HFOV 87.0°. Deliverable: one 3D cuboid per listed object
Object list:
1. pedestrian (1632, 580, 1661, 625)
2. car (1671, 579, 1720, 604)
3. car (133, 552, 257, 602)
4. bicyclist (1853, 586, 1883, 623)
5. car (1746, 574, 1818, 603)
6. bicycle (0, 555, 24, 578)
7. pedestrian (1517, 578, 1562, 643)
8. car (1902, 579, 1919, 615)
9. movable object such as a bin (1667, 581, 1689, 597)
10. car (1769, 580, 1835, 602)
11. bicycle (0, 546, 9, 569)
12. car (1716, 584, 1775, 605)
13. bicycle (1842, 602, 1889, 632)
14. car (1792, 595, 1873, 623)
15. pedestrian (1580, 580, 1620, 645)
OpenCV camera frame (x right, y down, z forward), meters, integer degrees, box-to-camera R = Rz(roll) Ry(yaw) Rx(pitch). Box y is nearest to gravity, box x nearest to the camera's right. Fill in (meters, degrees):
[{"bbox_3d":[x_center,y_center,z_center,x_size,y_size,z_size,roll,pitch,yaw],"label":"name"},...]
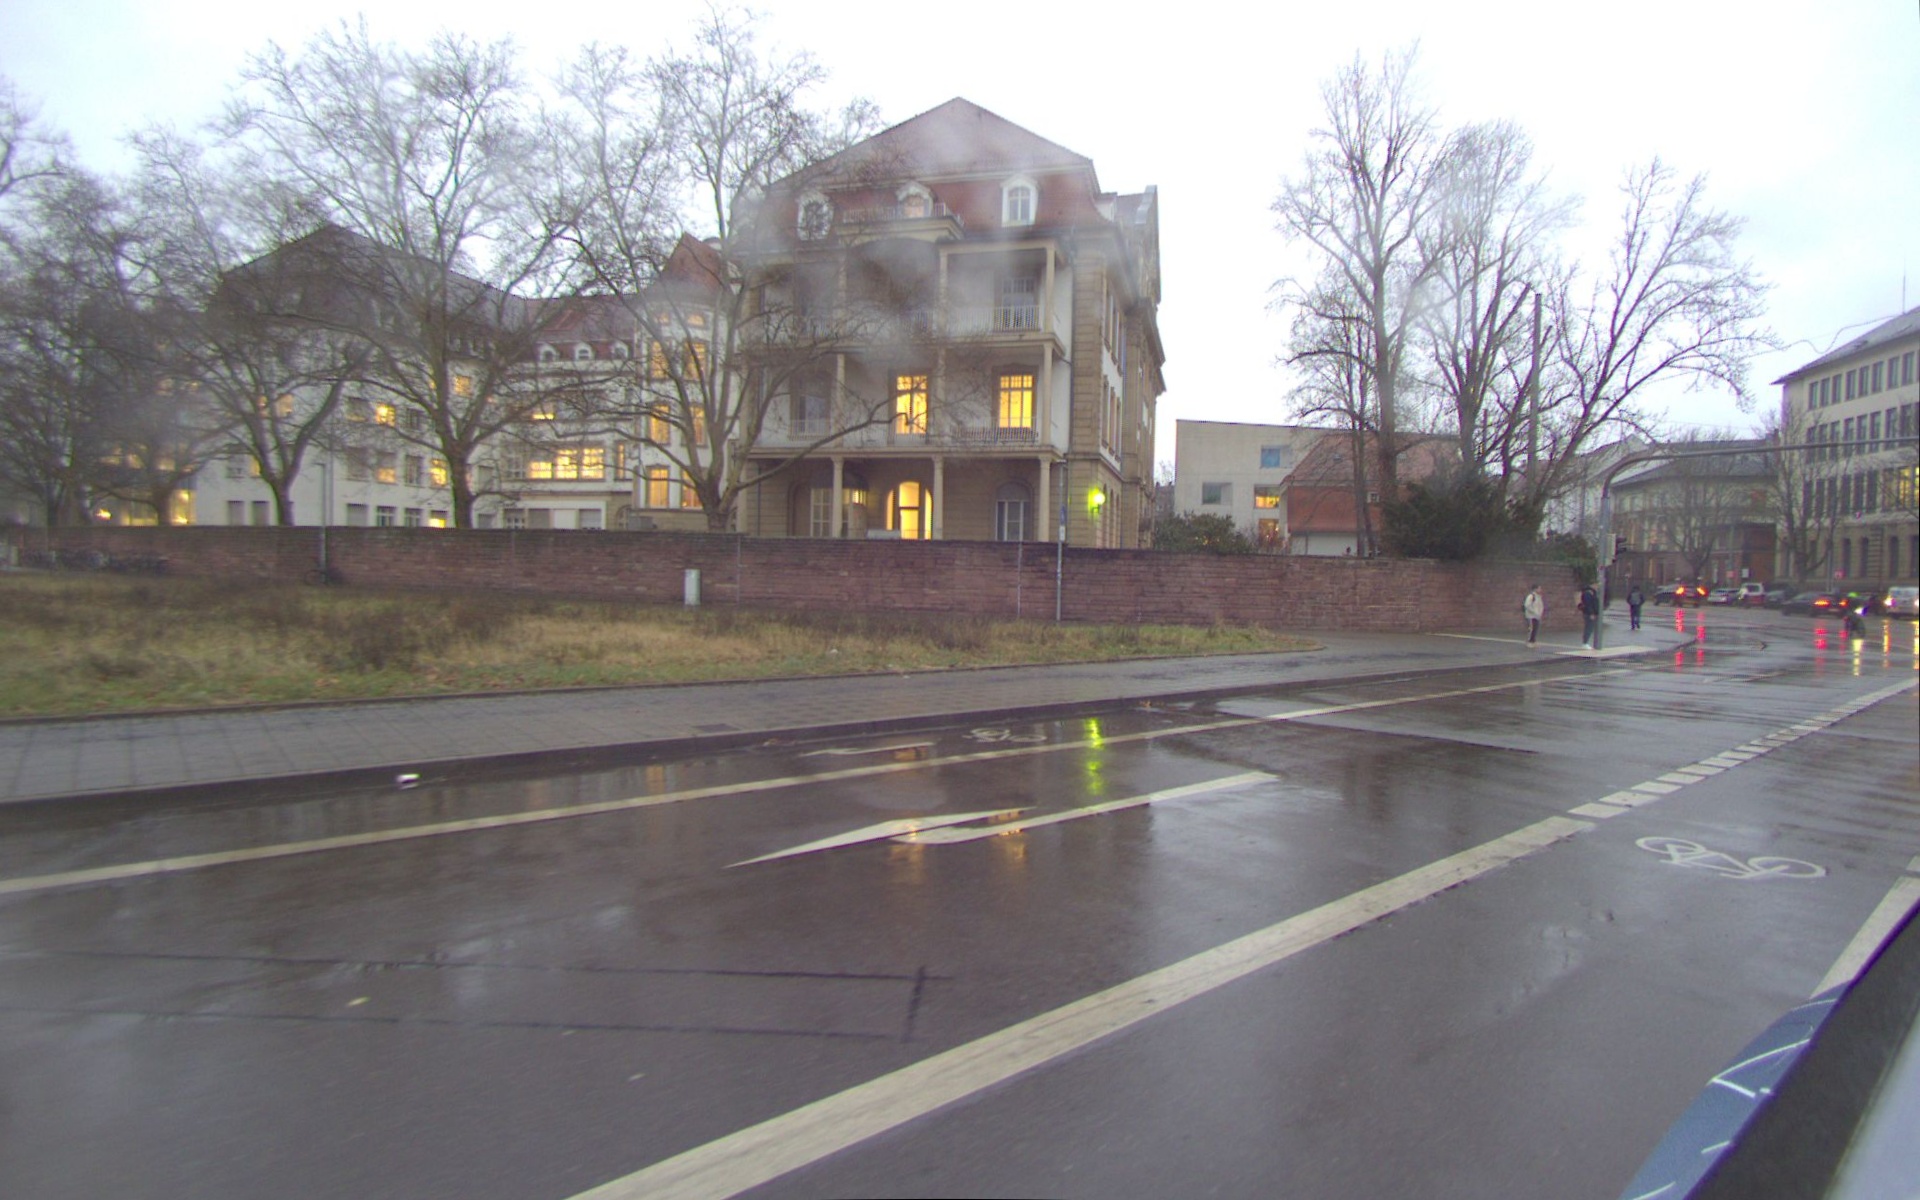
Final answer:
[{"bbox_3d":[27.193,0.071,40.103,0.802,1.705,1.143,4,2,33],"label":"pedestrian"},{"bbox_3d":[54.913,-0.644,75.638,1.739,1.682,4.500,3,3,20],"label":"car"},{"bbox_3d":[-16.731,-0.526,22.254,1.275,0.989,2.688,2,2,-16],"label":"car"},{"bbox_3d":[34.920,0.163,38.917,0.711,1.359,0.712,0,2,30],"label":"bicyclist"},{"bbox_3d":[64.483,-0.918,79.399,4.526,2.079,1.970,-1,2,-12],"label":"car"},{"bbox_3d":[-42.169,-1.436,43.833,2.372,1.003,0.479,-3,2,-41],"label":"bicycle"},{"bbox_3d":[15.734,0.270,27.506,0.953,1.696,0.772,3,2,28],"label":"pedestrian"},{"bbox_3d":[59.221,-0.220,60.937,4.704,2.058,1.917,-2,2,-23],"label":"car"},{"bbox_3d":[68.375,-1.054,96.388,0.966,1.482,1.347,-2,2,-22],"label":"movable object such as a bin"},{"bbox_3d":[63.691,-0.704,76.575,3.894,1.558,1.828,-1,2,-12],"label":"car"},{"bbox_3d":[-43.019,-1.838,44.013,2.372,1.003,0.537,-3,2,-41],"label":"bicycle"},{"bbox_3d":[65.923,-0.498,84.957,4.097,1.610,1.779,-2,2,-14],"label":"car"},{"bbox_3d":[34.846,0.640,38.962,0.717,1.104,2.265,1,0,25],"label":"bicycle"},{"bbox_3d":[51.136,0.491,59.412,1.727,1.395,4.348,3,3,14],"label":"car"},{"bbox_3d":[17.373,0.327,27.466,0.788,1.696,0.720,4,3,36],"label":"pedestrian"}]
